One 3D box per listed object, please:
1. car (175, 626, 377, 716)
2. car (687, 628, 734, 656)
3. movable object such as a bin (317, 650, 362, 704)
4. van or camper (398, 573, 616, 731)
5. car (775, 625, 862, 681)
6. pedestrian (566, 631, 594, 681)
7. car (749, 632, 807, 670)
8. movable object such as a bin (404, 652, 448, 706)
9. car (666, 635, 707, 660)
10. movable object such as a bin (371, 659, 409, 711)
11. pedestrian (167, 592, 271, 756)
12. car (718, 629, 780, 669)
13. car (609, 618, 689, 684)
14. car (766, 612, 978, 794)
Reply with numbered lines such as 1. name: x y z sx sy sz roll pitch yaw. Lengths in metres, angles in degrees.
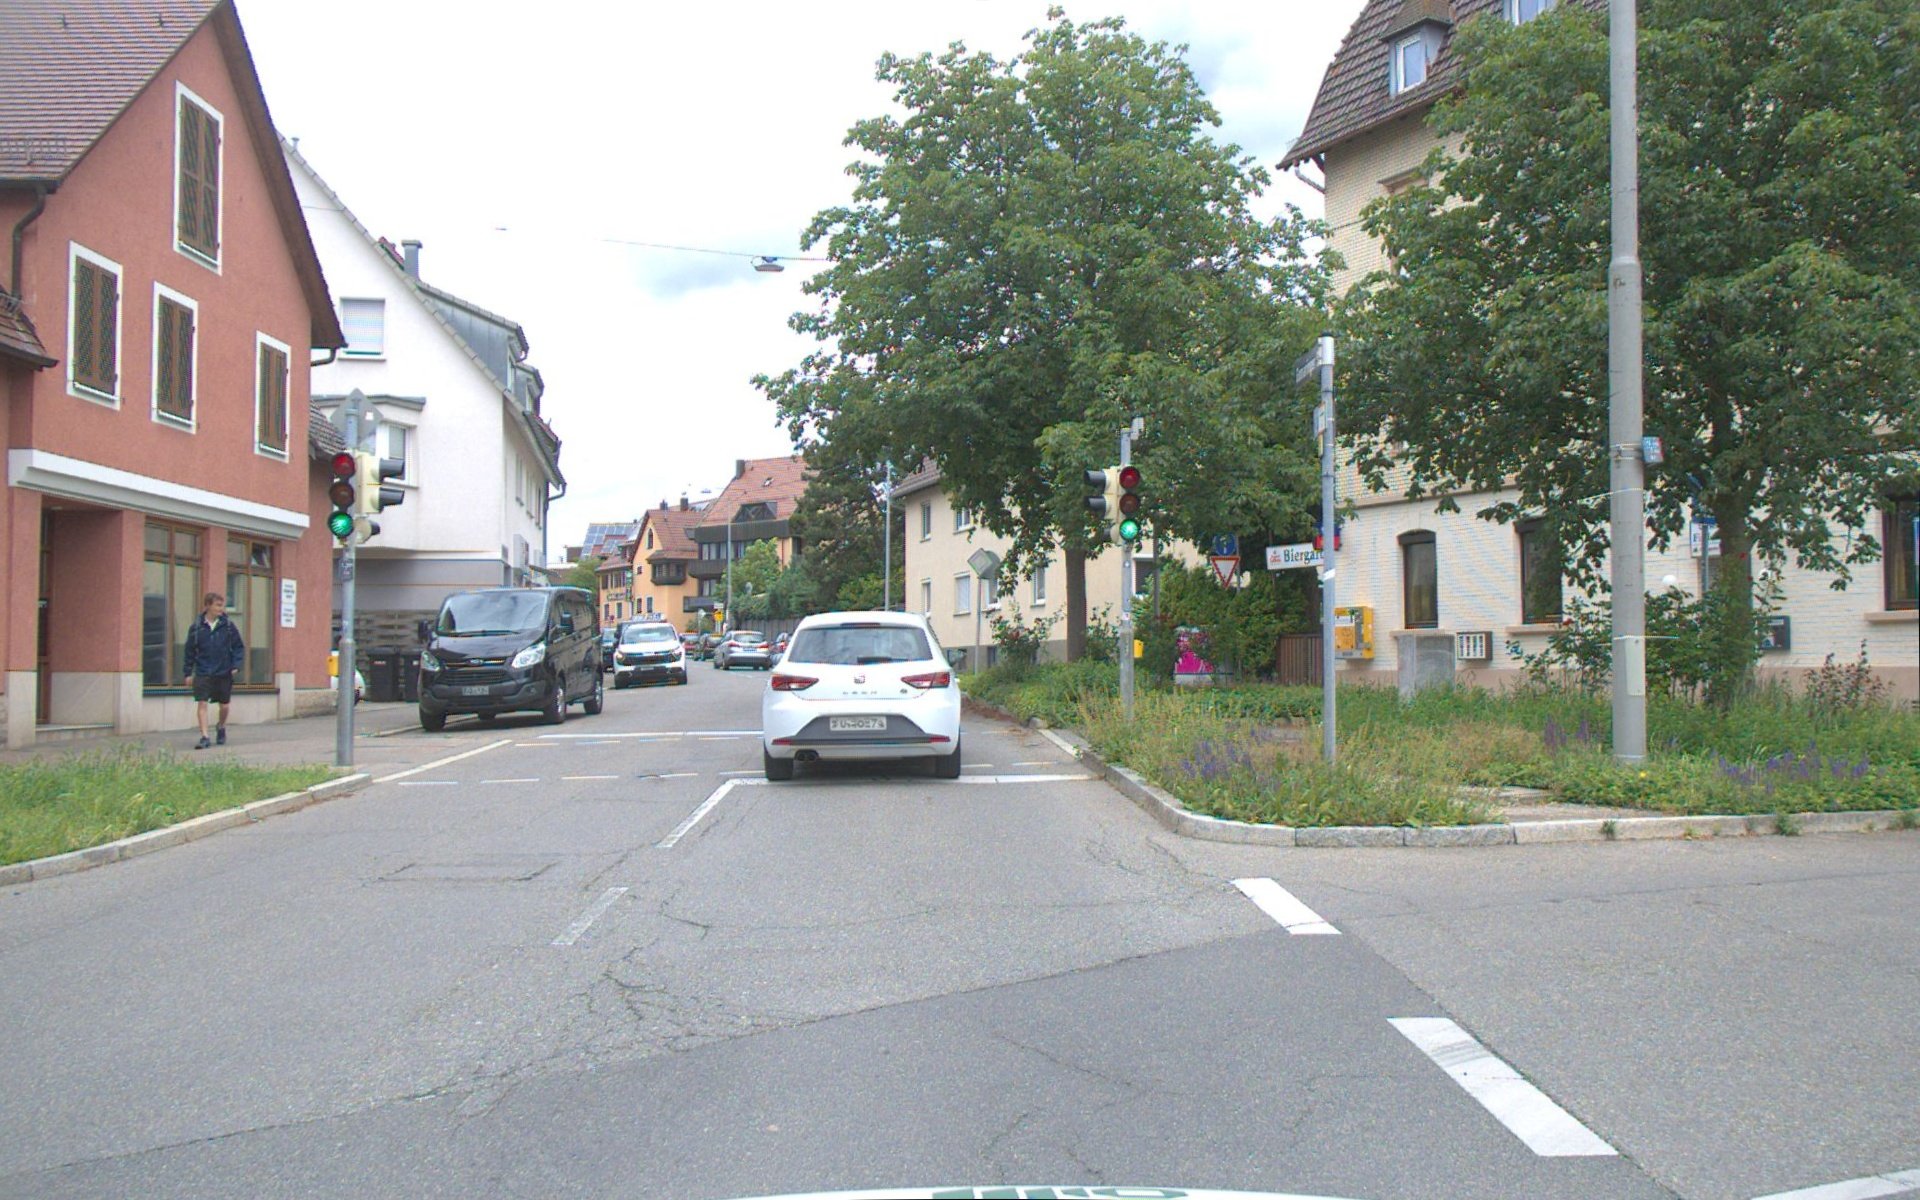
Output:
1. car: -11.885 1.236 28.880 2.771 1.501 1.742 0 -2 1
2. car: -13.390 2.271 88.695 1.733 1.477 3.975 1 -2 -21
3. movable object such as a bin: -12.328 1.522 32.882 0.652 1.036 0.794 -1 -1 -6
4. van or camper: -6.602 0.803 24.673 2.032 2.041 4.854 -2 -3 -2
5. car: -3.958 1.468 45.781 1.729 1.477 3.983 0 -2 -15
6. pedestrian: -11.890 1.756 51.756 0.792 1.526 0.972 2 -3 -12
7. car: -7.719 2.169 69.961 1.730 1.477 3.981 3 -3 -16
8. movable object such as a bin: -10.651 1.568 33.014 0.652 1.036 0.794 -1 -1 -6
9. car: -16.449 2.880 99.370 1.733 1.477 3.975 1 -2 -21
10. movable object such as a bin: -11.315 1.686 32.849 0.523 0.988 0.635 2 -1 -2
11. pedestrian: -8.407 0.827 18.793 0.784 1.816 0.892 0 -1 -3
12. car: -8.020 1.860 62.688 1.730 1.477 3.981 1 -2 -16
13. car: -8.236 1.353 44.108 1.961 1.662 4.846 1 -2 -10
14. car: -0.801 0.877 15.492 1.723 1.477 3.997 0 -1 -3
